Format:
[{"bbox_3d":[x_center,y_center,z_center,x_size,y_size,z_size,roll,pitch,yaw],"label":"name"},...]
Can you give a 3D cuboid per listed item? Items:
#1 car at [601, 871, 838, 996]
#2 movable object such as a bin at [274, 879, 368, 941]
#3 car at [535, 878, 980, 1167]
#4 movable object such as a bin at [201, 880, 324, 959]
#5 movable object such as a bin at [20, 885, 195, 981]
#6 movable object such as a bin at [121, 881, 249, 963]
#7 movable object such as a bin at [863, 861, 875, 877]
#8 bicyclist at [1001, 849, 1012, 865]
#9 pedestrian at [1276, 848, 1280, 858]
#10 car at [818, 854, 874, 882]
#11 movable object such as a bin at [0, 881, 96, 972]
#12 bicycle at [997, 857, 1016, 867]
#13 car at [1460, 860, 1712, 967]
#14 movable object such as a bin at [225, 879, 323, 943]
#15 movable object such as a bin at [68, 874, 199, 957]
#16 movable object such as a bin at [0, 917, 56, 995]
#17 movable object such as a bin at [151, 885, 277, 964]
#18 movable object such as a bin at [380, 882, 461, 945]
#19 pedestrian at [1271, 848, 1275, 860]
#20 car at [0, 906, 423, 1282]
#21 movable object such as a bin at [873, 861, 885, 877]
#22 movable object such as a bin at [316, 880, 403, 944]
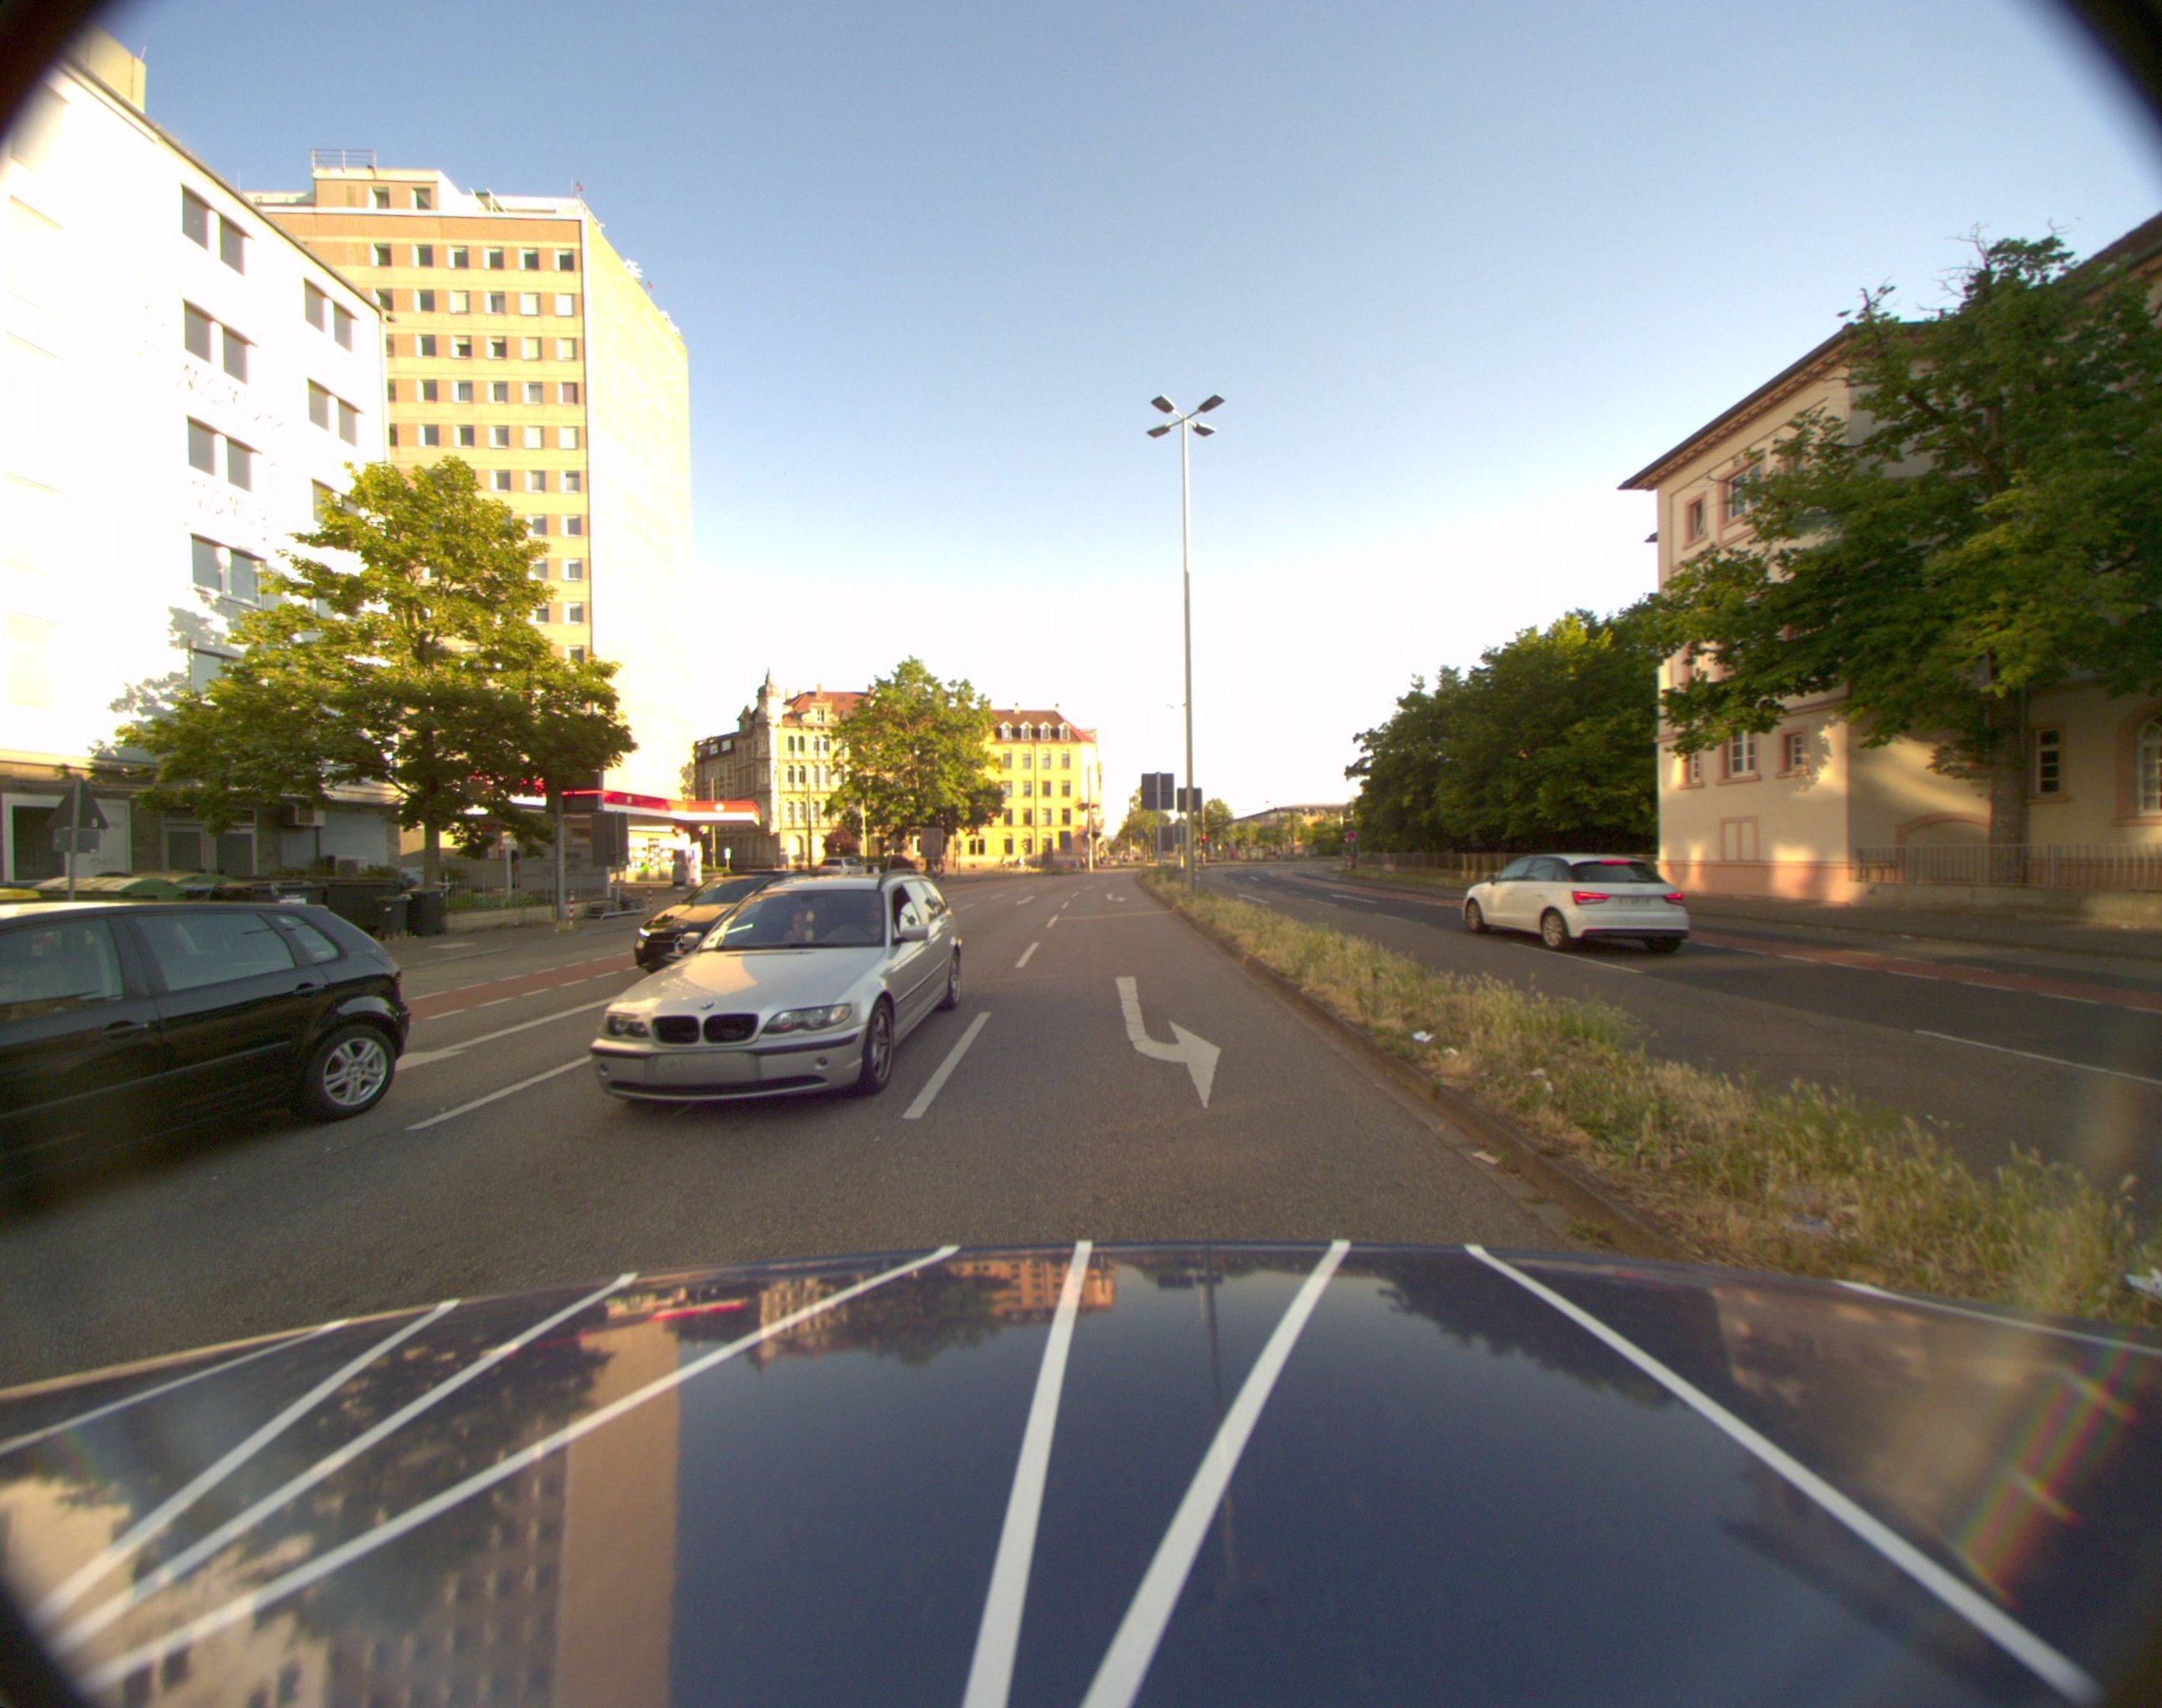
[{"bbox_3d":[-5.290,1.070,11.784,1.731,1.441,4.045,-2,0,-1],"label":"car"},{"bbox_3d":[-16.932,1.232,16.961,0.956,1.276,1.098,-1,1,-2],"label":"movable object such as a bin"},{"bbox_3d":[-2.100,1.017,6.448,1.674,1.410,4.441,-2,0,2],"label":"car"},{"bbox_3d":[-14.906,1.164,13.889,0.956,1.320,1.162,-1,1,-2],"label":"movable object such as a bin"},{"bbox_3d":[-15.887,1.262,12.455,1.351,1.415,1.105,-1,1,-4],"label":"movable object such as a bin"},{"bbox_3d":[-17.122,1.272,14.565,1.034,1.440,1.162,-1,1,-2],"label":"movable object such as a bin"},{"bbox_3d":[-13.869,0.987,49.766,0.544,1.013,0.688,-1,1,5],"label":"movable object such as a bin"},{"bbox_3d":[-7.680,0.329,77.905,1.065,1.639,0.732,-1,1,-7],"label":"bicyclist"},{"bbox_3d":[33.379,-0.177,128.825,0.467,1.695,0.419,-1,1,1],"label":"pedestrian"},{"bbox_3d":[-13.954,0.817,45.277,1.688,1.508,3.797,-1,1,8],"label":"car"},{"bbox_3d":[-18.689,1.256,13.406,1.034,1.490,1.162,-1,1,-2],"label":"movable object such as a bin"},{"bbox_3d":[-7.650,0.818,77.863,1.927,1.053,0.451,-1,1,-7],"label":"bicycle"},{"bbox_3d":[7.697,0.807,12.054,1.695,1.379,3.687,0,0,3],"label":"car"},{"bbox_3d":[-17.929,1.244,16.917,0.956,1.320,1.098,-1,1,-2],"label":"movable object such as a bin"},{"bbox_3d":[-18.299,1.159,14.718,1.034,1.490,1.162,-1,1,-2],"label":"movable object such as a bin"},{"bbox_3d":[-15.513,1.458,10.748,0.853,1.039,0.819,-1,1,-4],"label":"movable object such as a bin"},{"bbox_3d":[-16.039,1.280,14.096,0.956,1.320,1.162,-1,1,-2],"label":"movable object such as a bin"},{"bbox_3d":[-14.879,1.327,17.139,0.956,1.320,0.953,-1,1,-2],"label":"movable object such as a bin"},{"bbox_3d":[32.661,-0.033,129.095,0.556,2.002,0.664,-1,1,1],"label":"pedestrian"},{"bbox_3d":[-5.377,1.111,3.326,1.585,1.441,3.871,-2,0,0],"label":"car"},{"bbox_3d":[-13.148,0.956,49.555,0.544,1.013,0.688,-1,1,5],"label":"movable object such as a bin"},{"bbox_3d":[-15.858,1.260,16.732,0.956,1.320,0.953,-1,1,-2],"label":"movable object such as a bin"}]
